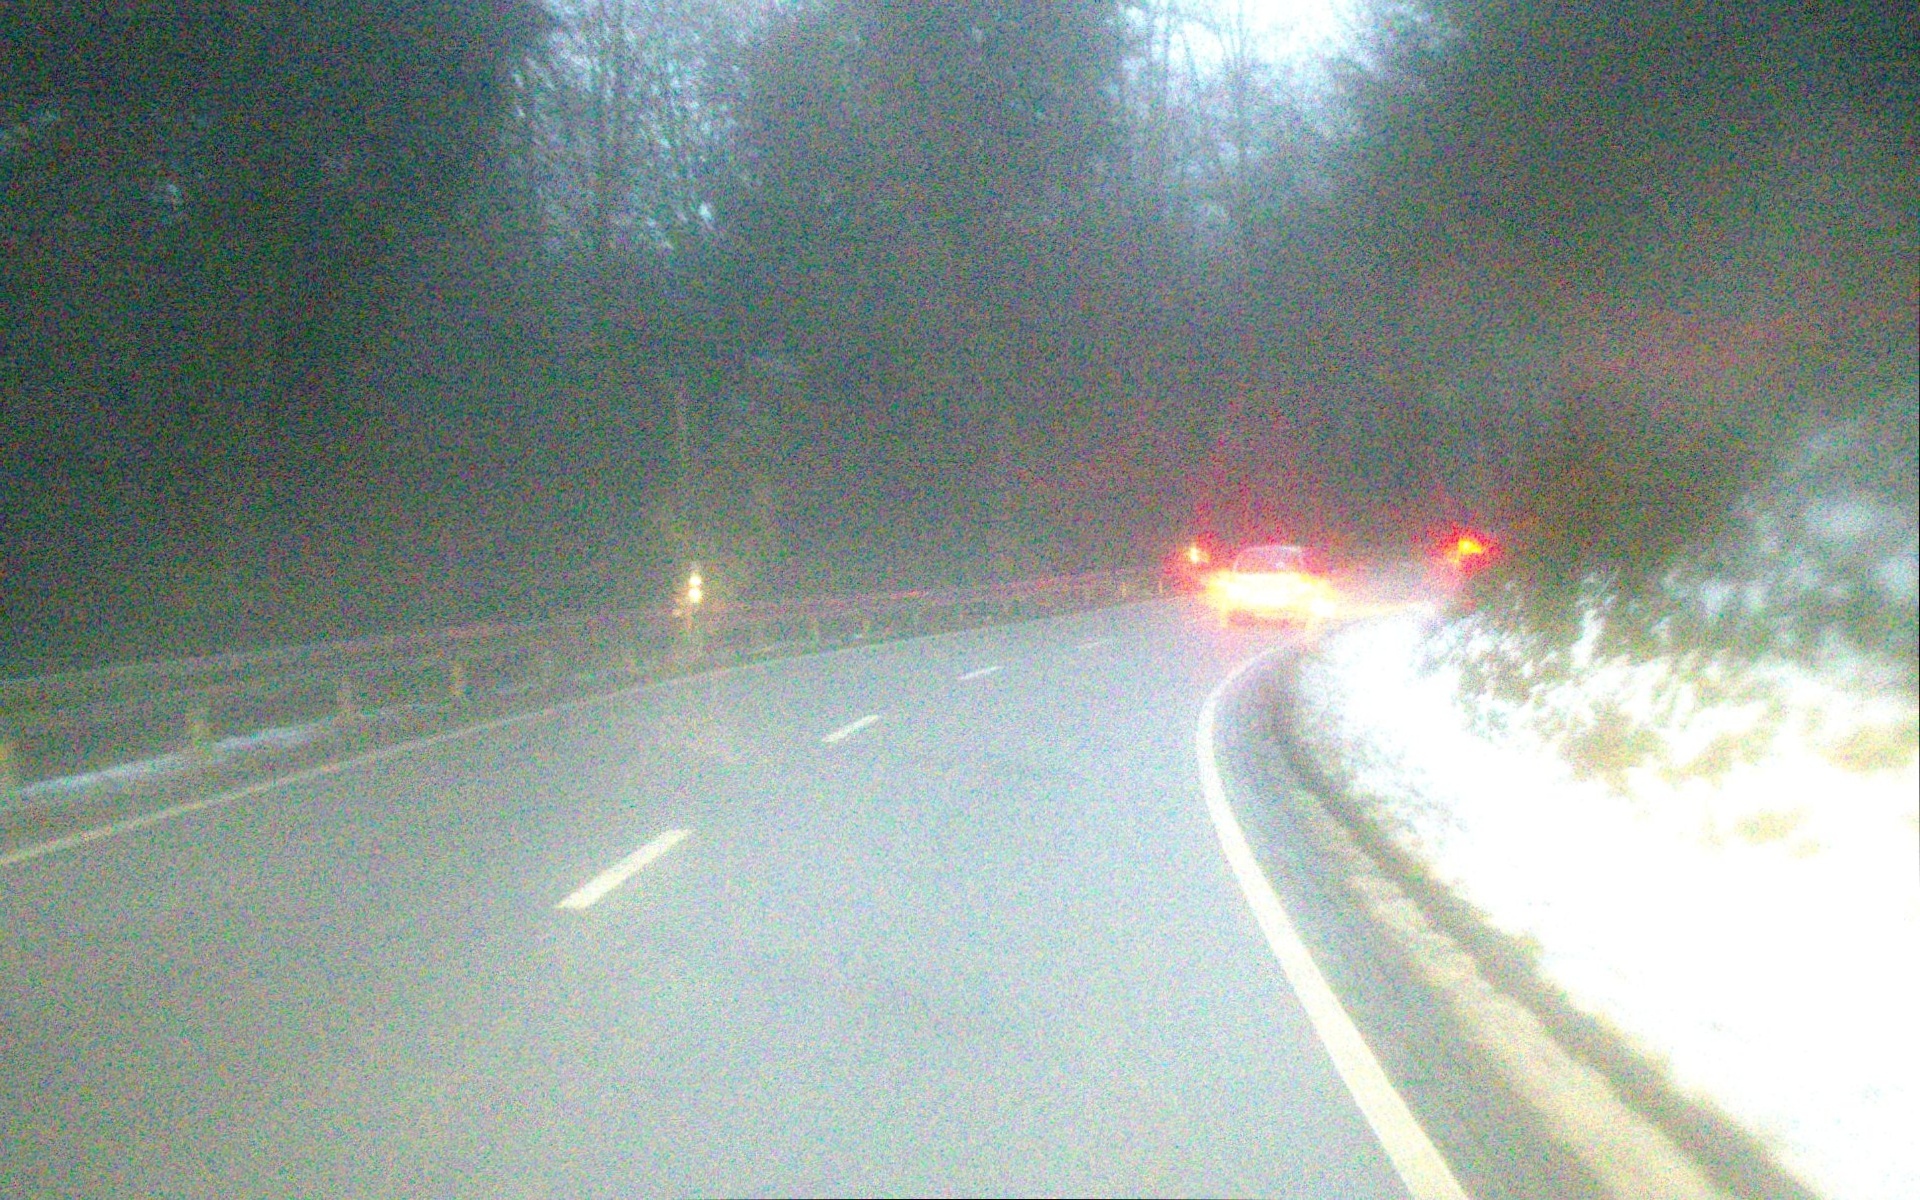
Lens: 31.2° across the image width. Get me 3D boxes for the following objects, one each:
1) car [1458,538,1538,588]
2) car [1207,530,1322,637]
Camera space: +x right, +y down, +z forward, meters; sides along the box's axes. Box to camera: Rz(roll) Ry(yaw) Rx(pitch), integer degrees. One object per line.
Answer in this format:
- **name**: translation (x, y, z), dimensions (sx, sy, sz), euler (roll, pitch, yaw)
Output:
- **car**: translation (15.043, -1.041, 95.994), dimensions (1.994, 1.305, 3.998), euler (-2, 1, 12)
- **car**: translation (5.618, -0.324, 63.805), dimensions (1.994, 1.866, 4.000), euler (-2, 1, 4)
